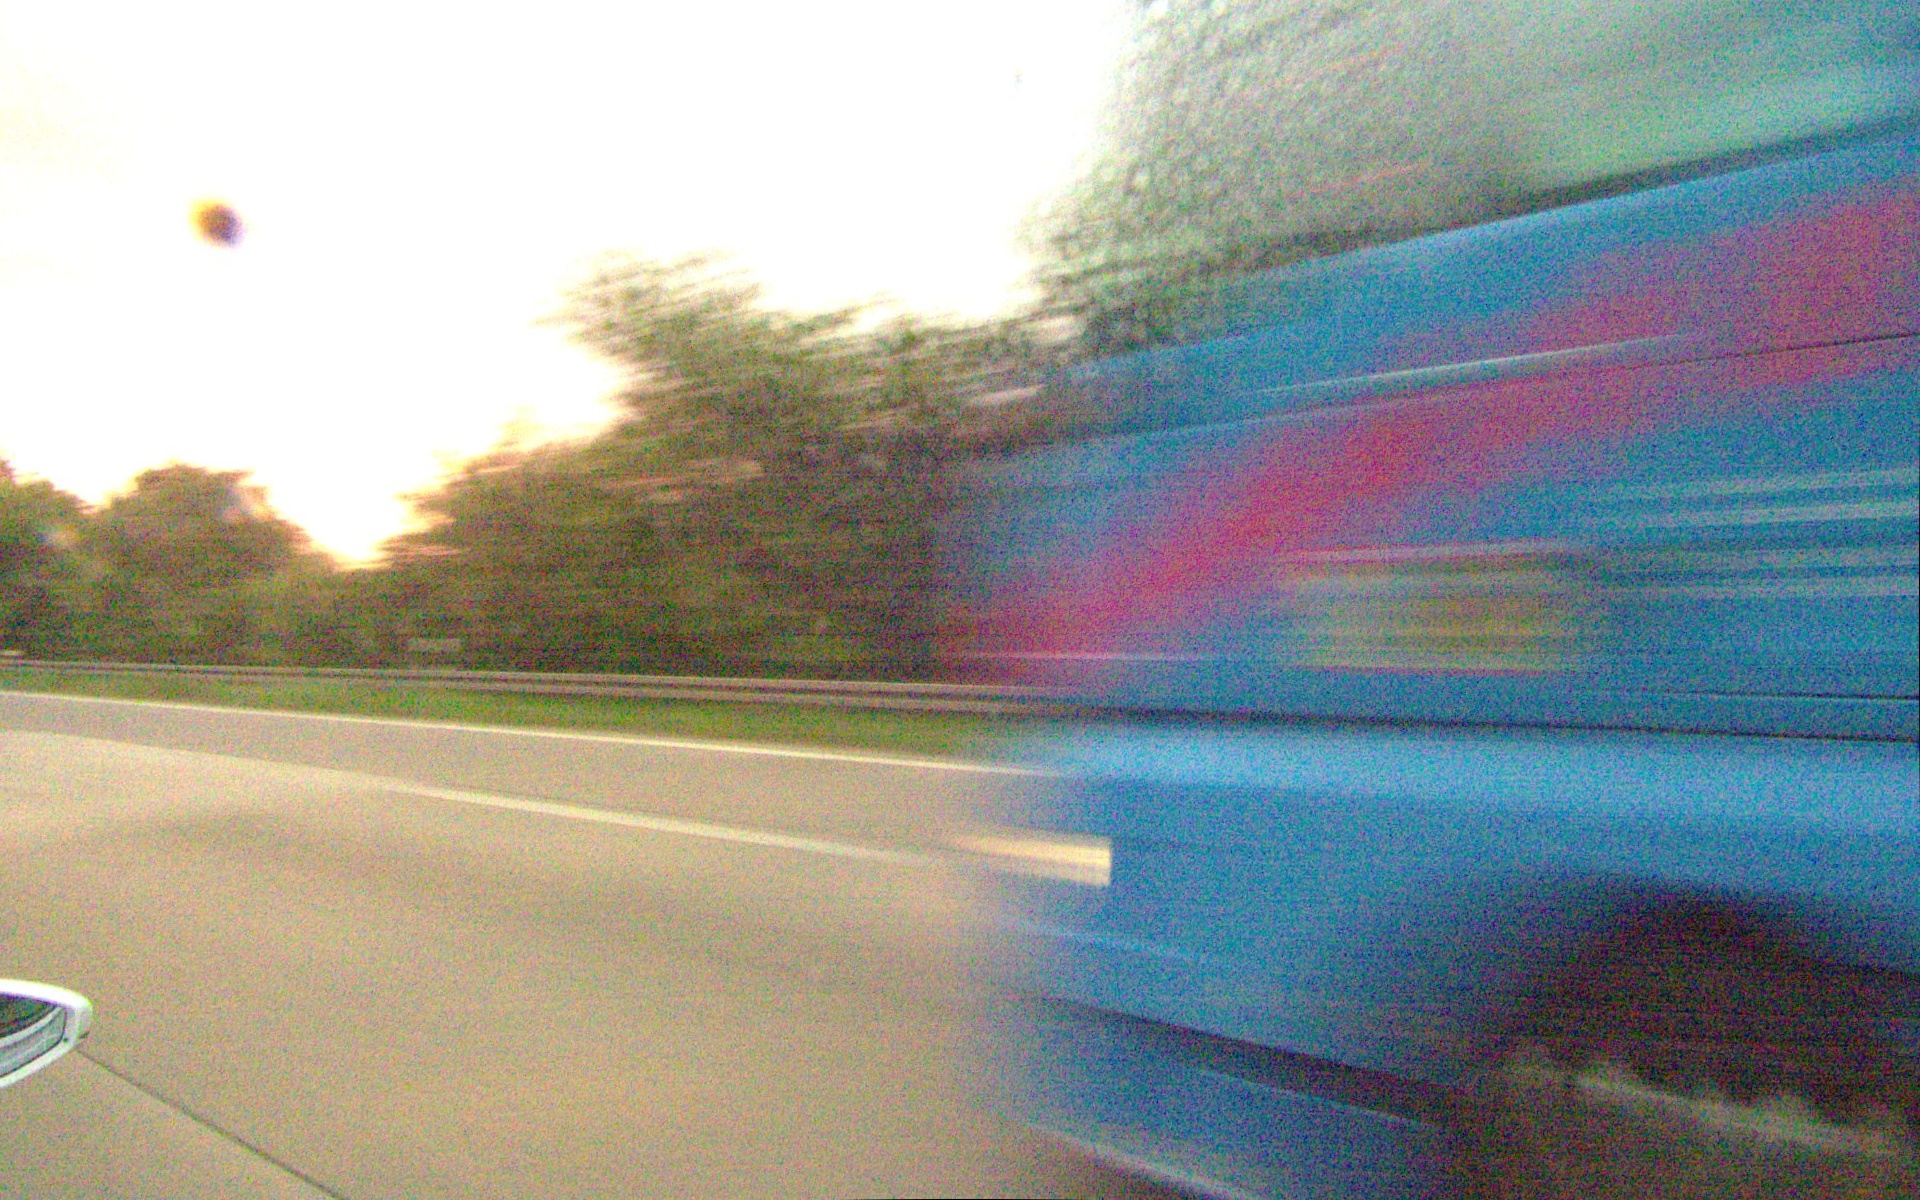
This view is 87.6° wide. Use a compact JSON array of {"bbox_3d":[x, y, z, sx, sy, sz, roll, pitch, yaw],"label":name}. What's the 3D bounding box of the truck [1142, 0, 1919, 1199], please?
[{"bbox_3d":[3.525,-0.573,1.681,5.766,4.048,2.732,-1,-1,32],"label":"truck"}]
